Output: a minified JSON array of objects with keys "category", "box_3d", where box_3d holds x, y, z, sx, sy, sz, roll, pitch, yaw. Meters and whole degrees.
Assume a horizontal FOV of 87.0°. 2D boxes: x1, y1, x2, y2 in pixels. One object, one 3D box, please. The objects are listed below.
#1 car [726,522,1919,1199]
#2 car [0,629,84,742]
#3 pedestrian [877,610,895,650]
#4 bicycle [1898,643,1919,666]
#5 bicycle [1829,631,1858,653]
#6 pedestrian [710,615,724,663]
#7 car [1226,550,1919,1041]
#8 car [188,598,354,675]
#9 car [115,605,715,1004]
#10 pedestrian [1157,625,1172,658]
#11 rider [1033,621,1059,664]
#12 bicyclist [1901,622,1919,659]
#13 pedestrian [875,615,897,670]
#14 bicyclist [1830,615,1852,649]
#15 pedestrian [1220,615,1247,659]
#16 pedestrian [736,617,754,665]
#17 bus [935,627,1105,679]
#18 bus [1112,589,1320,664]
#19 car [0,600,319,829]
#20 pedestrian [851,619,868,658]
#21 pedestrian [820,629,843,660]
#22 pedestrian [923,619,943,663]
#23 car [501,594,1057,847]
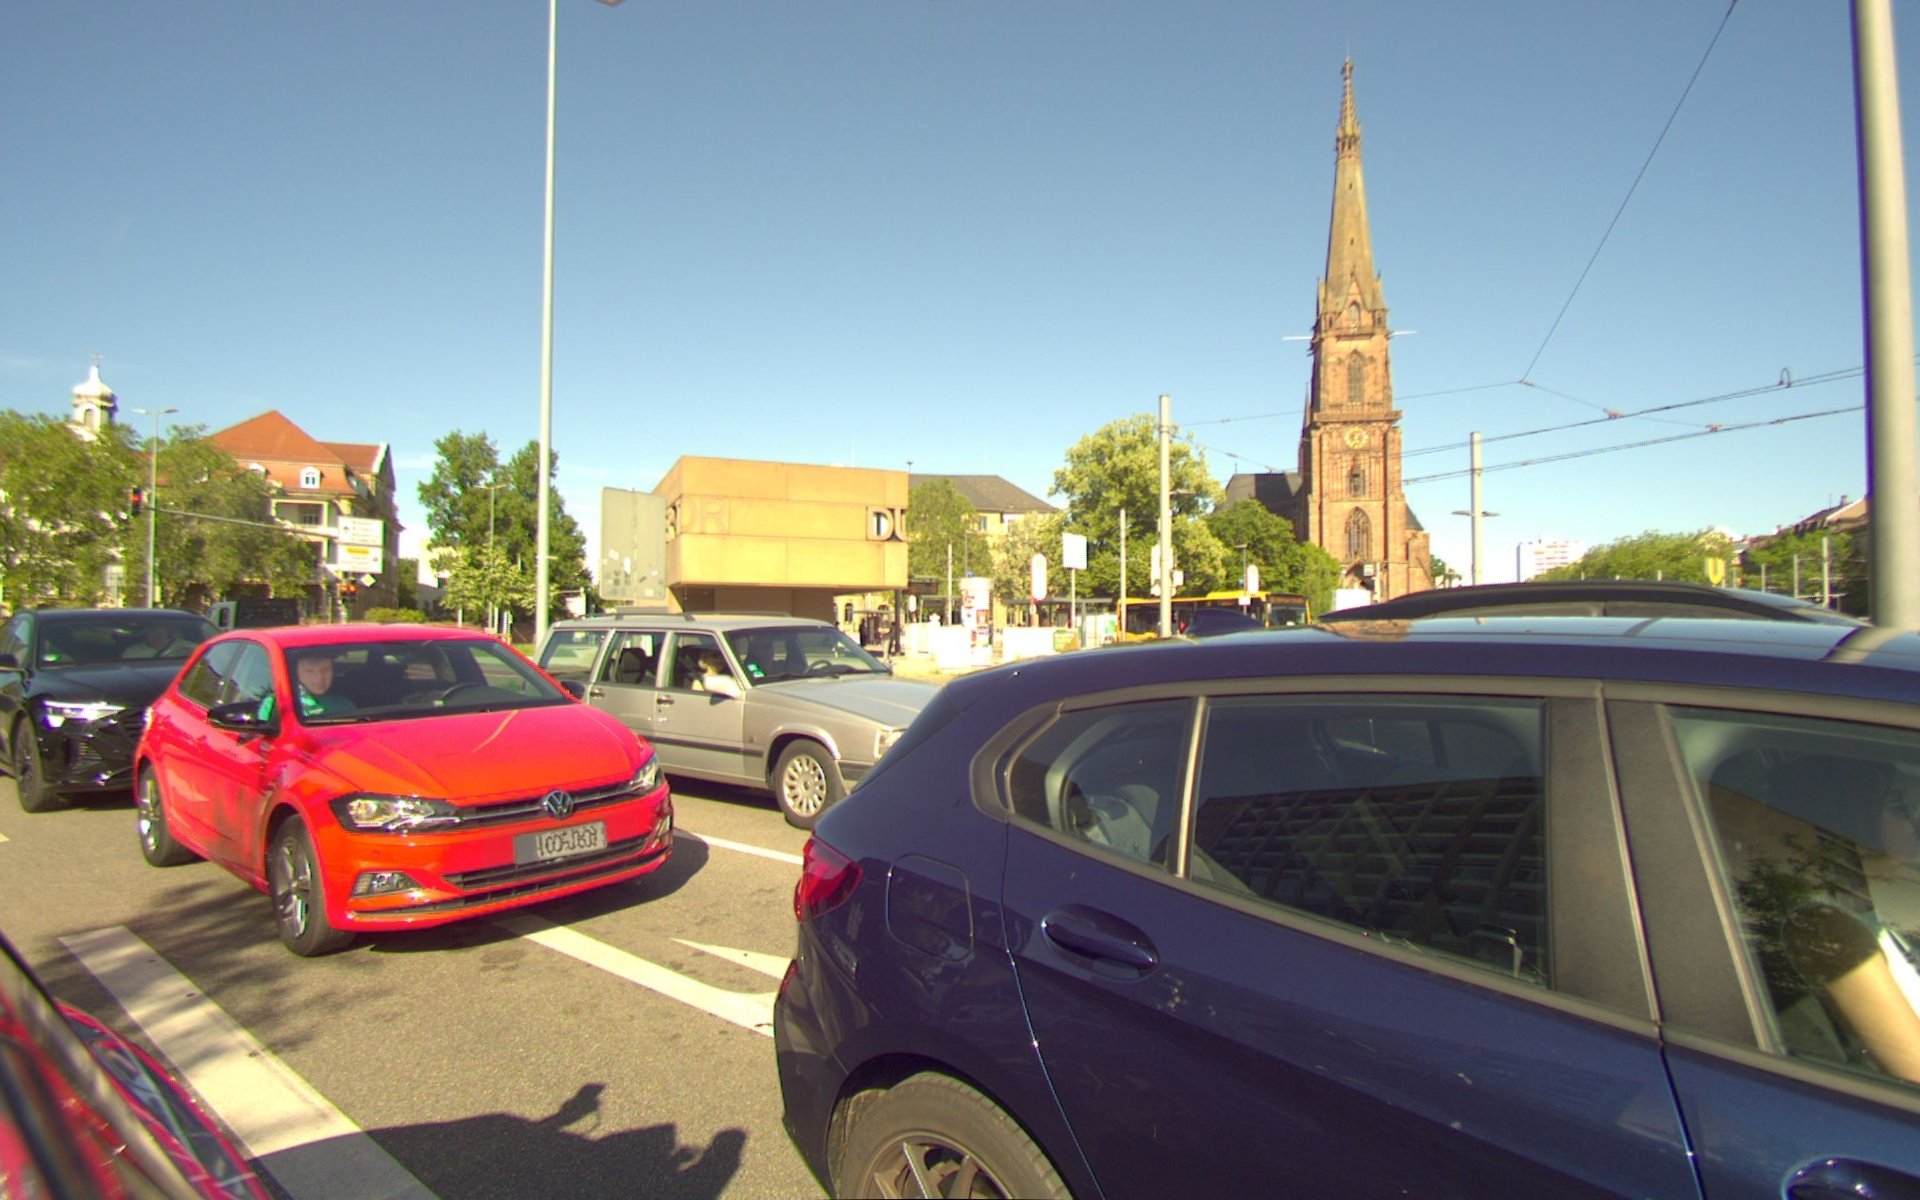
[{"category":"car","box_3d":[1.583,0.652,1.371,4.030,1.456,1.692,-1,-1,42]},{"category":"car","box_3d":[-13.662,1.122,13.924,3.704,1.429,1.557,-1,-2,35]},{"category":"pedestrian","box_3d":[-3.287,1.336,44.939,0.468,1.789,0.638,-2,-2,36]},{"category":"bicycle","box_3d":[38.207,2.190,40.518,0.677,0.885,1.876,-2,-2,35]},{"category":"bicycle","box_3d":[44.783,2.113,51.325,0.675,1.114,1.880,-1,-2,29]},{"category":"pedestrian","box_3d":[-9.254,1.478,38.527,0.460,1.789,0.648,0,-2,-21]},{"category":"car","box_3d":[3.318,0.623,4.056,4.010,1.529,1.738,-2,-2,44]},{"category":"car","box_3d":[-22.625,1.169,33.134,6.191,2.331,2.095,-1,-2,31]},{"category":"car","box_3d":[-3.231,0.808,5.668,3.850,1.484,1.653,-2,-1,40]},{"category":"pedestrian","box_3d":[9.642,1.948,47.715,0.567,1.525,0.524,-1,-1,24]},{"category":"rider","box_3d":[2.974,1.455,34.917,0.851,1.475,0.668,-1,-2,8]},{"category":"bicyclist","box_3d":[38.189,1.622,40.488,0.677,1.466,0.775,-2,-3,35]},{"category":"pedestrian","box_3d":[-2.477,1.429,34.072,0.658,1.802,0.646,-1,-1,2]},{"category":"bicyclist","box_3d":[44.708,1.640,51.344,0.675,1.725,0.612,-1,-2,29]},{"category":"pedestrian","box_3d":[11.683,1.566,43.240,0.882,1.869,0.679,-2,-3,41]},{"category":"pedestrian","box_3d":[-8.150,1.538,38.322,0.635,1.789,0.618,0,-2,-8]},{"category":"bus","box_3d":[1.501,1.339,26.169,4.174,1.251,1.627,-1,-2,35]},{"category":"bus","box_3d":[11.637,1.320,48.109,2.715,3.088,12.201,1,-2,-23]},{"category":"car","box_3d":[-7.831,0.883,9.326,4.446,1.628,1.836,-1,-2,38]},{"category":"pedestrian","box_3d":[-4.605,1.758,46.420,0.468,1.789,0.638,-2,-2,36]},{"category":"pedestrian","box_3d":[-5.490,1.880,43.219,0.635,1.320,0.764,1,-2,-40]},{"category":"pedestrian","box_3d":[-1.094,1.652,41.062,0.634,1.789,0.470,1,-2,-29]},{"category":"car","box_3d":[-1.689,0.805,8.217,4.745,1.484,1.692,-3,0,38]}]
